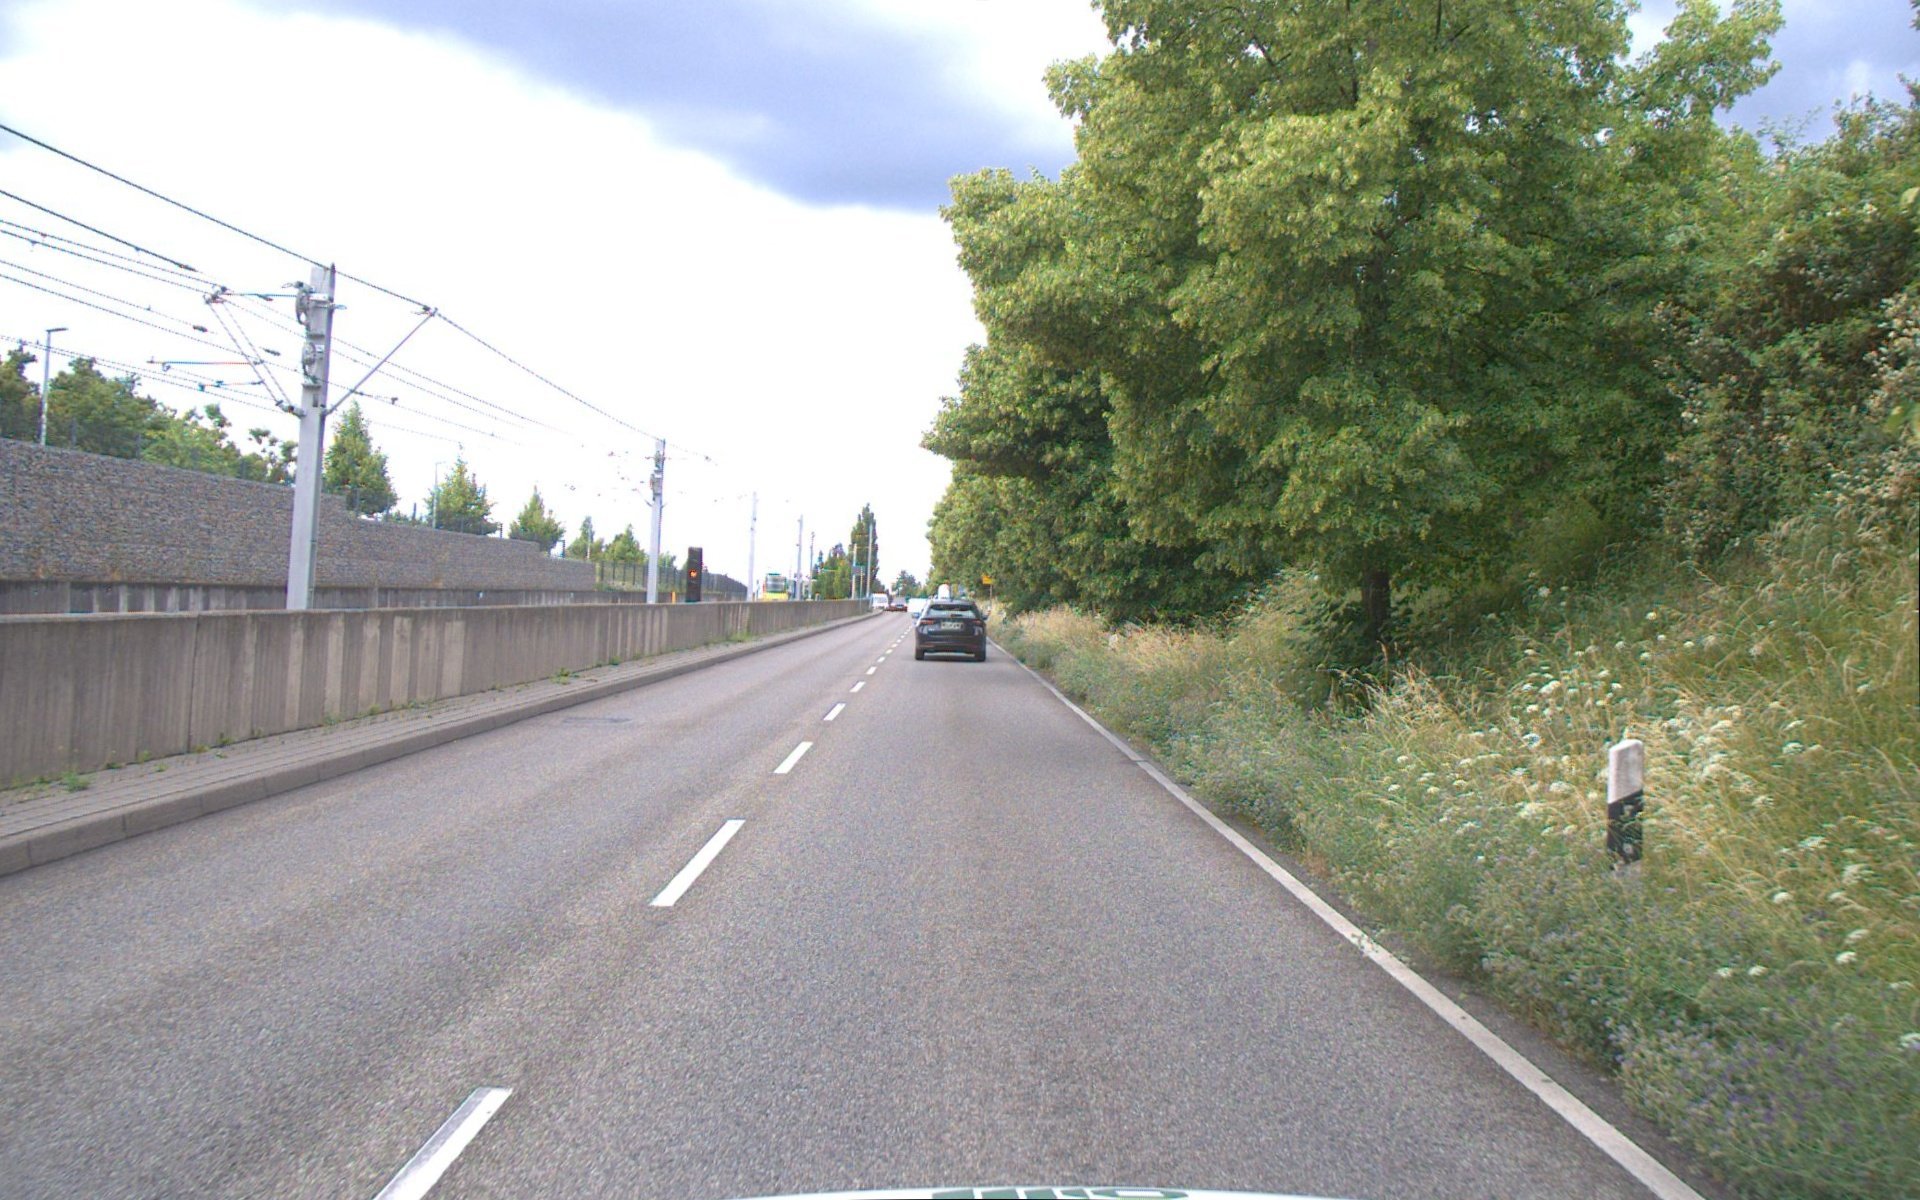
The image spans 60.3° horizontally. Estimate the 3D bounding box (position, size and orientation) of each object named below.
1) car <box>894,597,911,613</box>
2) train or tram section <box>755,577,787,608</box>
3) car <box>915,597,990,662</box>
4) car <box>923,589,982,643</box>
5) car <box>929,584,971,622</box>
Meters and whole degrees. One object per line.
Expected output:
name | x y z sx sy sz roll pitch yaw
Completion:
car | -5.725 0.523 166.299 1.629 1.572 3.951 1 0 -1
train or tram section | -21.509 -0.737 187.834 2.759 3.172 18.874 1 -1 -9
car | -0.204 0.686 40.867 1.745 1.493 3.999 1 0 -1
car | -0.271 0.531 58.067 1.953 1.783 3.999 1 0 -1
car | -0.512 0.181 80.050 1.953 1.771 3.999 1 -1 -1
